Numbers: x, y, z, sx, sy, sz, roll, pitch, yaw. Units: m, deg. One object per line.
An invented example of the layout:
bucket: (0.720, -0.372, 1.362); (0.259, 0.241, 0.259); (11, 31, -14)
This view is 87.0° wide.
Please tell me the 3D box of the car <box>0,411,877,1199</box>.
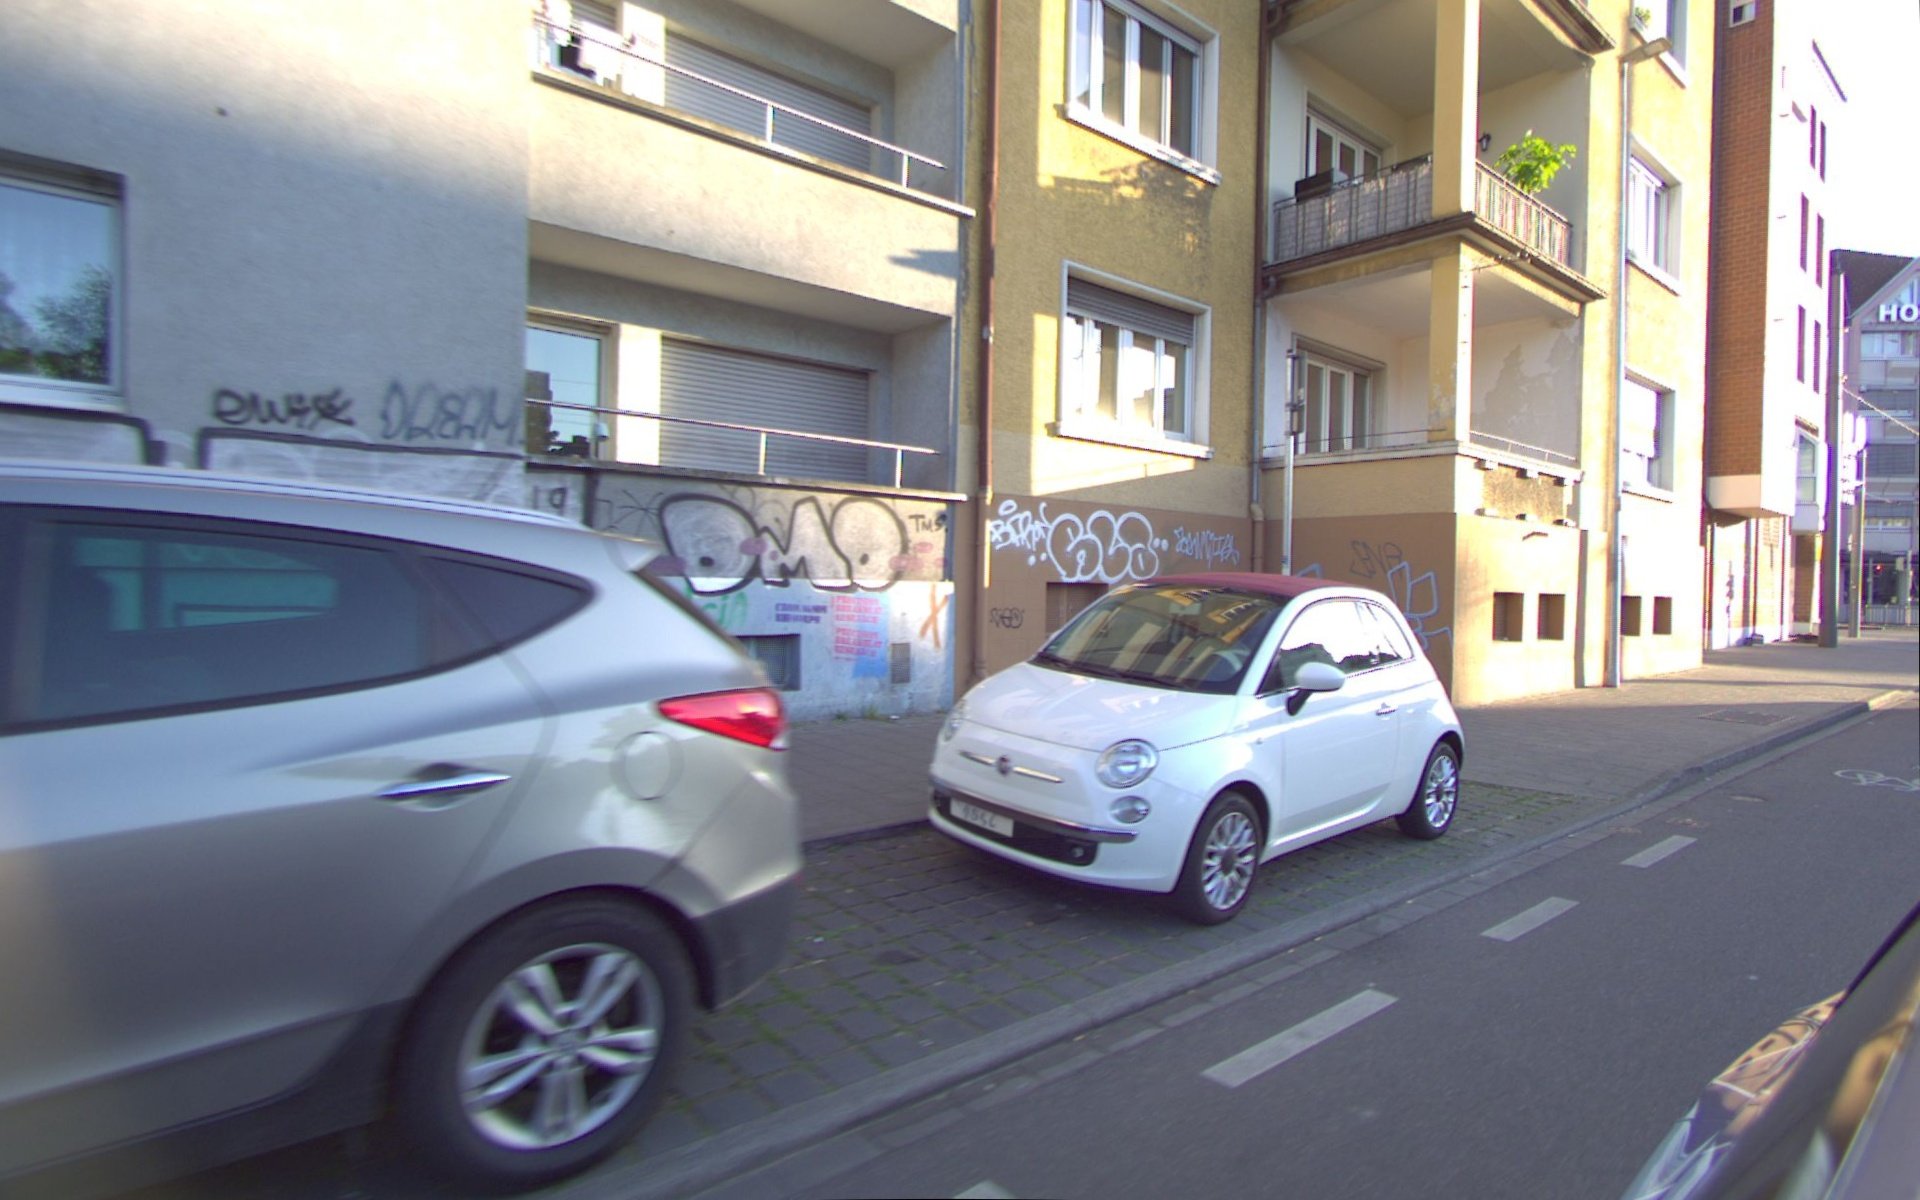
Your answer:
car: (-2.520, 0.460, 2.125); (4.448, 1.674, 1.761); (0, 4, -40)

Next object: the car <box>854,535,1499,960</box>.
car: (1.368, 0.512, 5.602); (3.540, 1.536, 1.673); (0, 5, -42)
